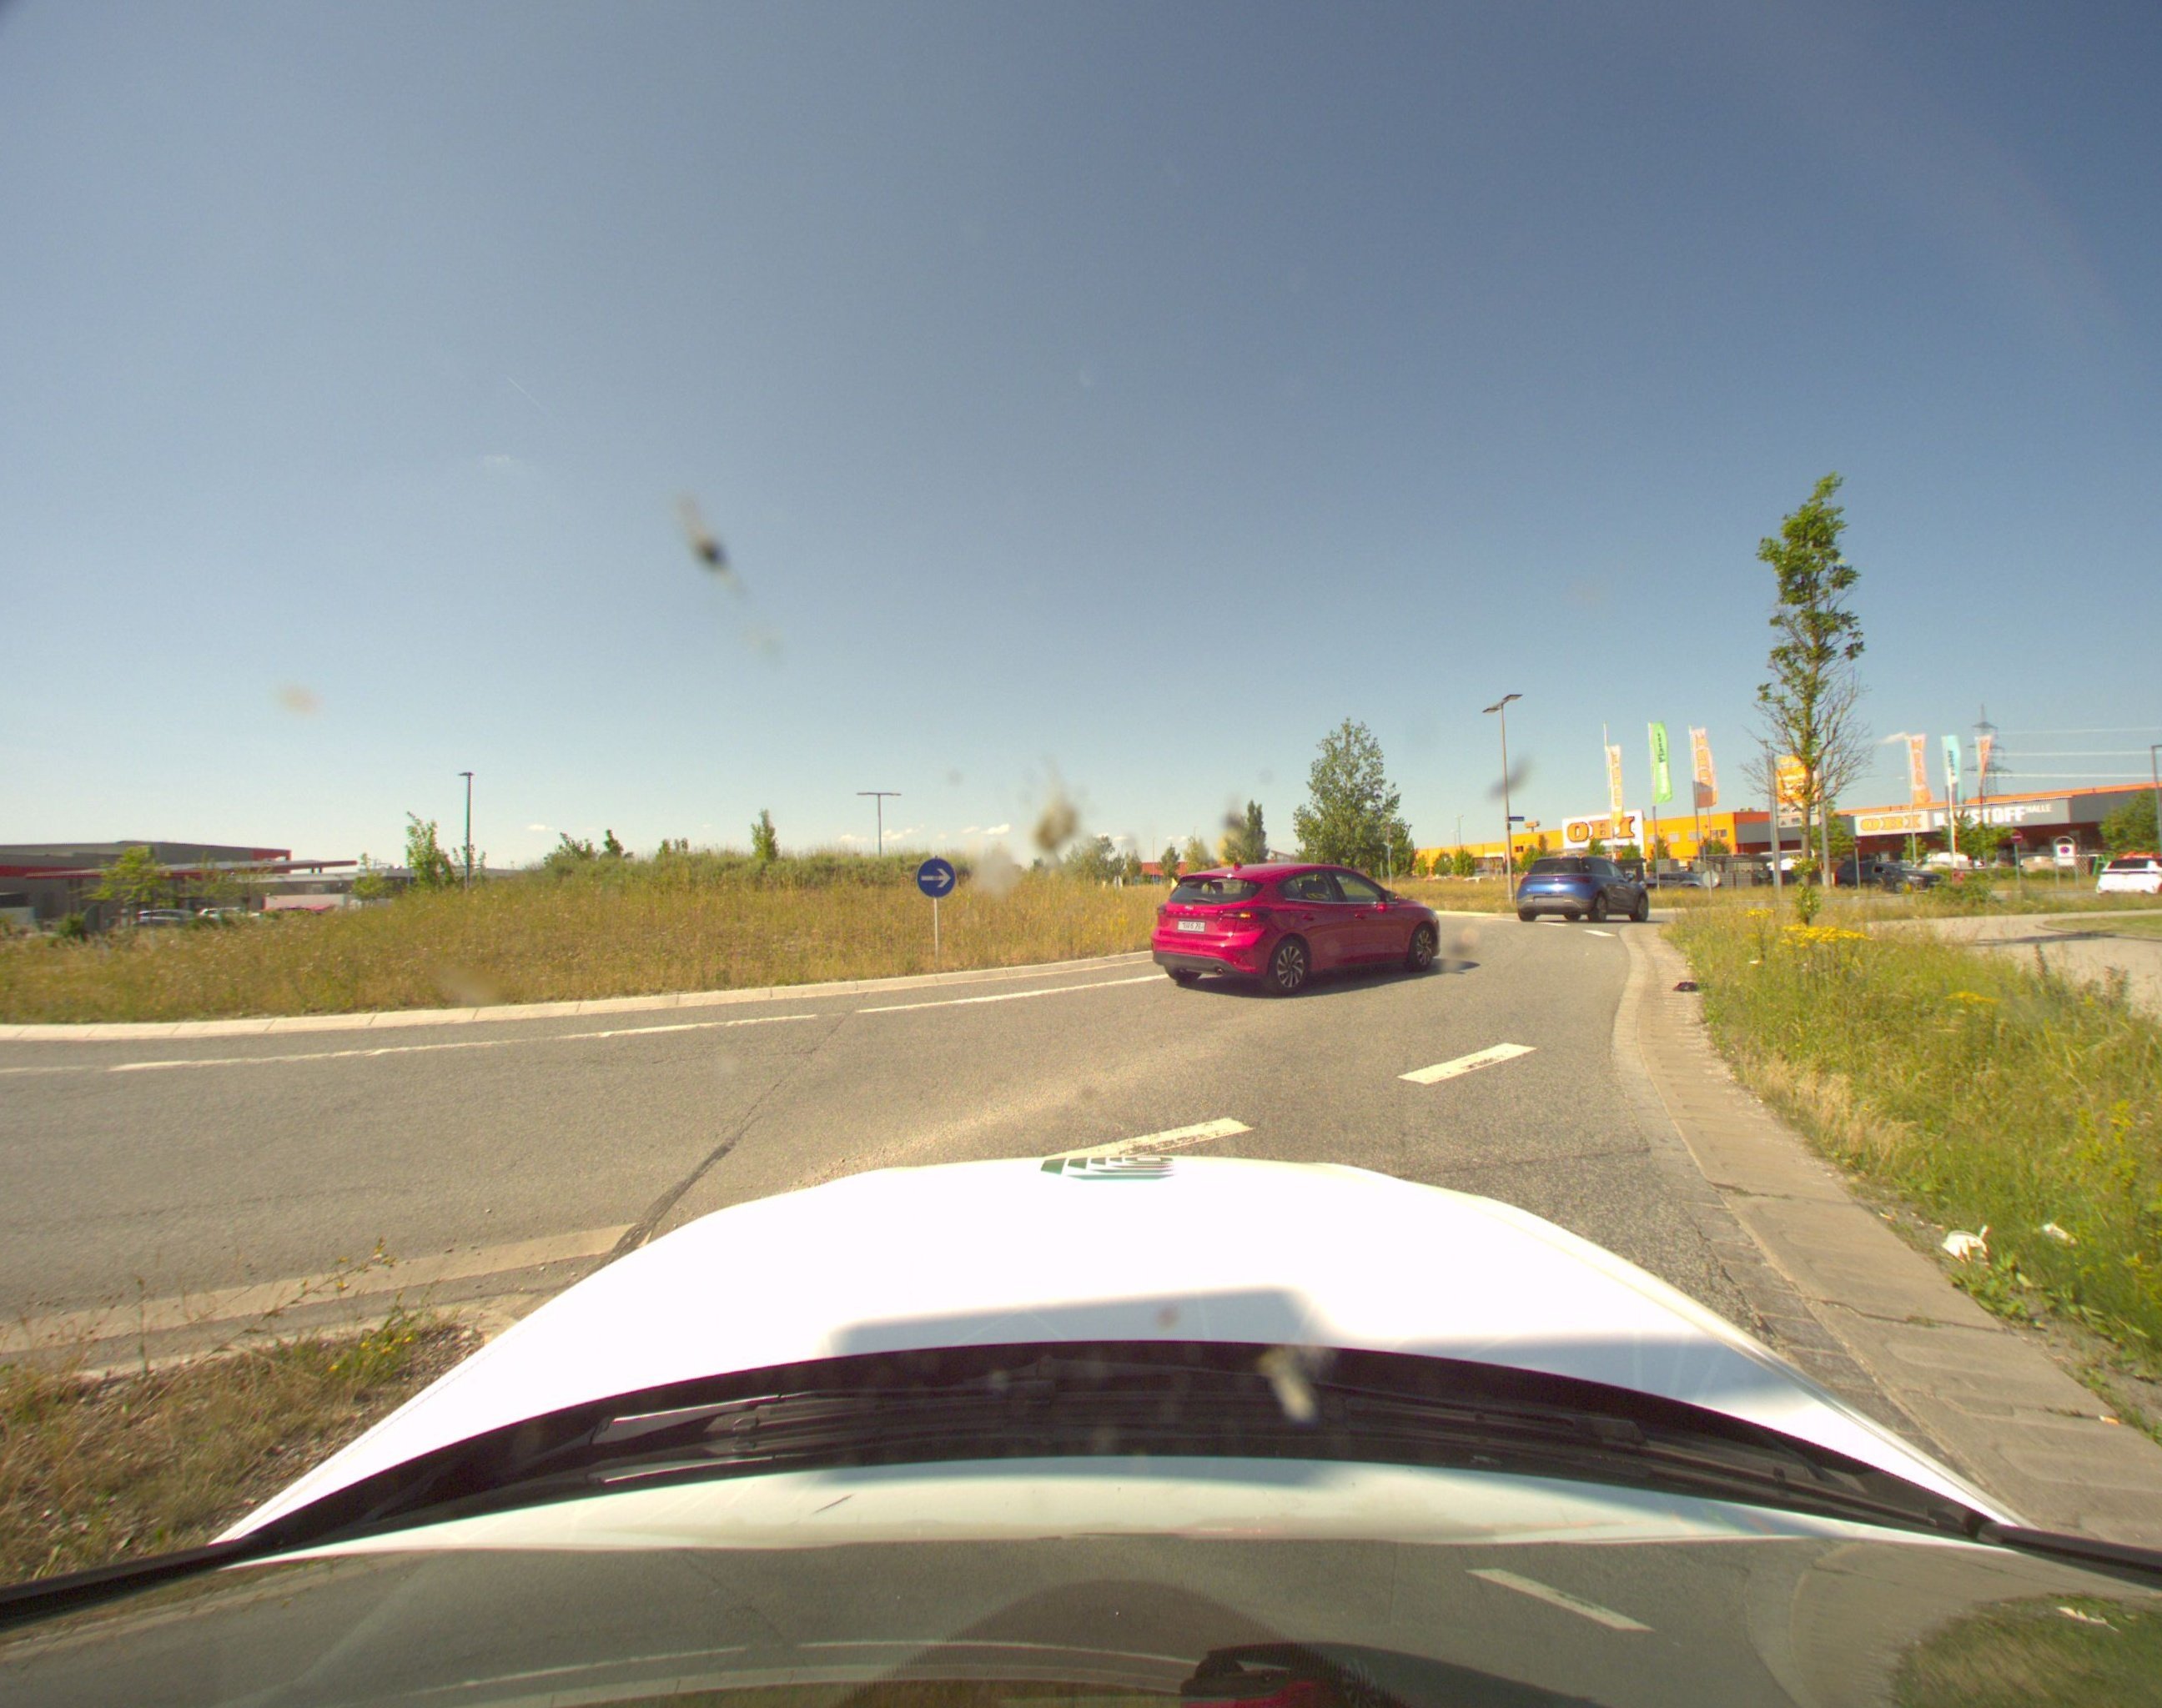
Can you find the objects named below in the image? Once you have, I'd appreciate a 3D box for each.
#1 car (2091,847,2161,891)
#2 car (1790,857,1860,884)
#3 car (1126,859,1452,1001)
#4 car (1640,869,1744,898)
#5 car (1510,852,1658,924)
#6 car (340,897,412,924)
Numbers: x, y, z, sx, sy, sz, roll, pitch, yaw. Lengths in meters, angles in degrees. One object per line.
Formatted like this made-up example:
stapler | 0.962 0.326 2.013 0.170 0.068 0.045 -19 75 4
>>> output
car | 37.399 0.487 28.283 3.341 1.441 1.508 -2 -2 -12
car | 51.174 1.159 56.068 3.766 1.841 1.692 1 -3 -13
car | 2.745 0.819 10.349 4.136 1.416 1.788 0 -2 -37
car | 37.621 1.853 50.299 2.080 1.627 4.662 0 -4 -21
car | 12.653 0.803 20.410 4.099 1.635 1.836 0 -2 -38
car | -56.795 4.479 65.773 1.994 2.014 5.117 -1 -3 -10
